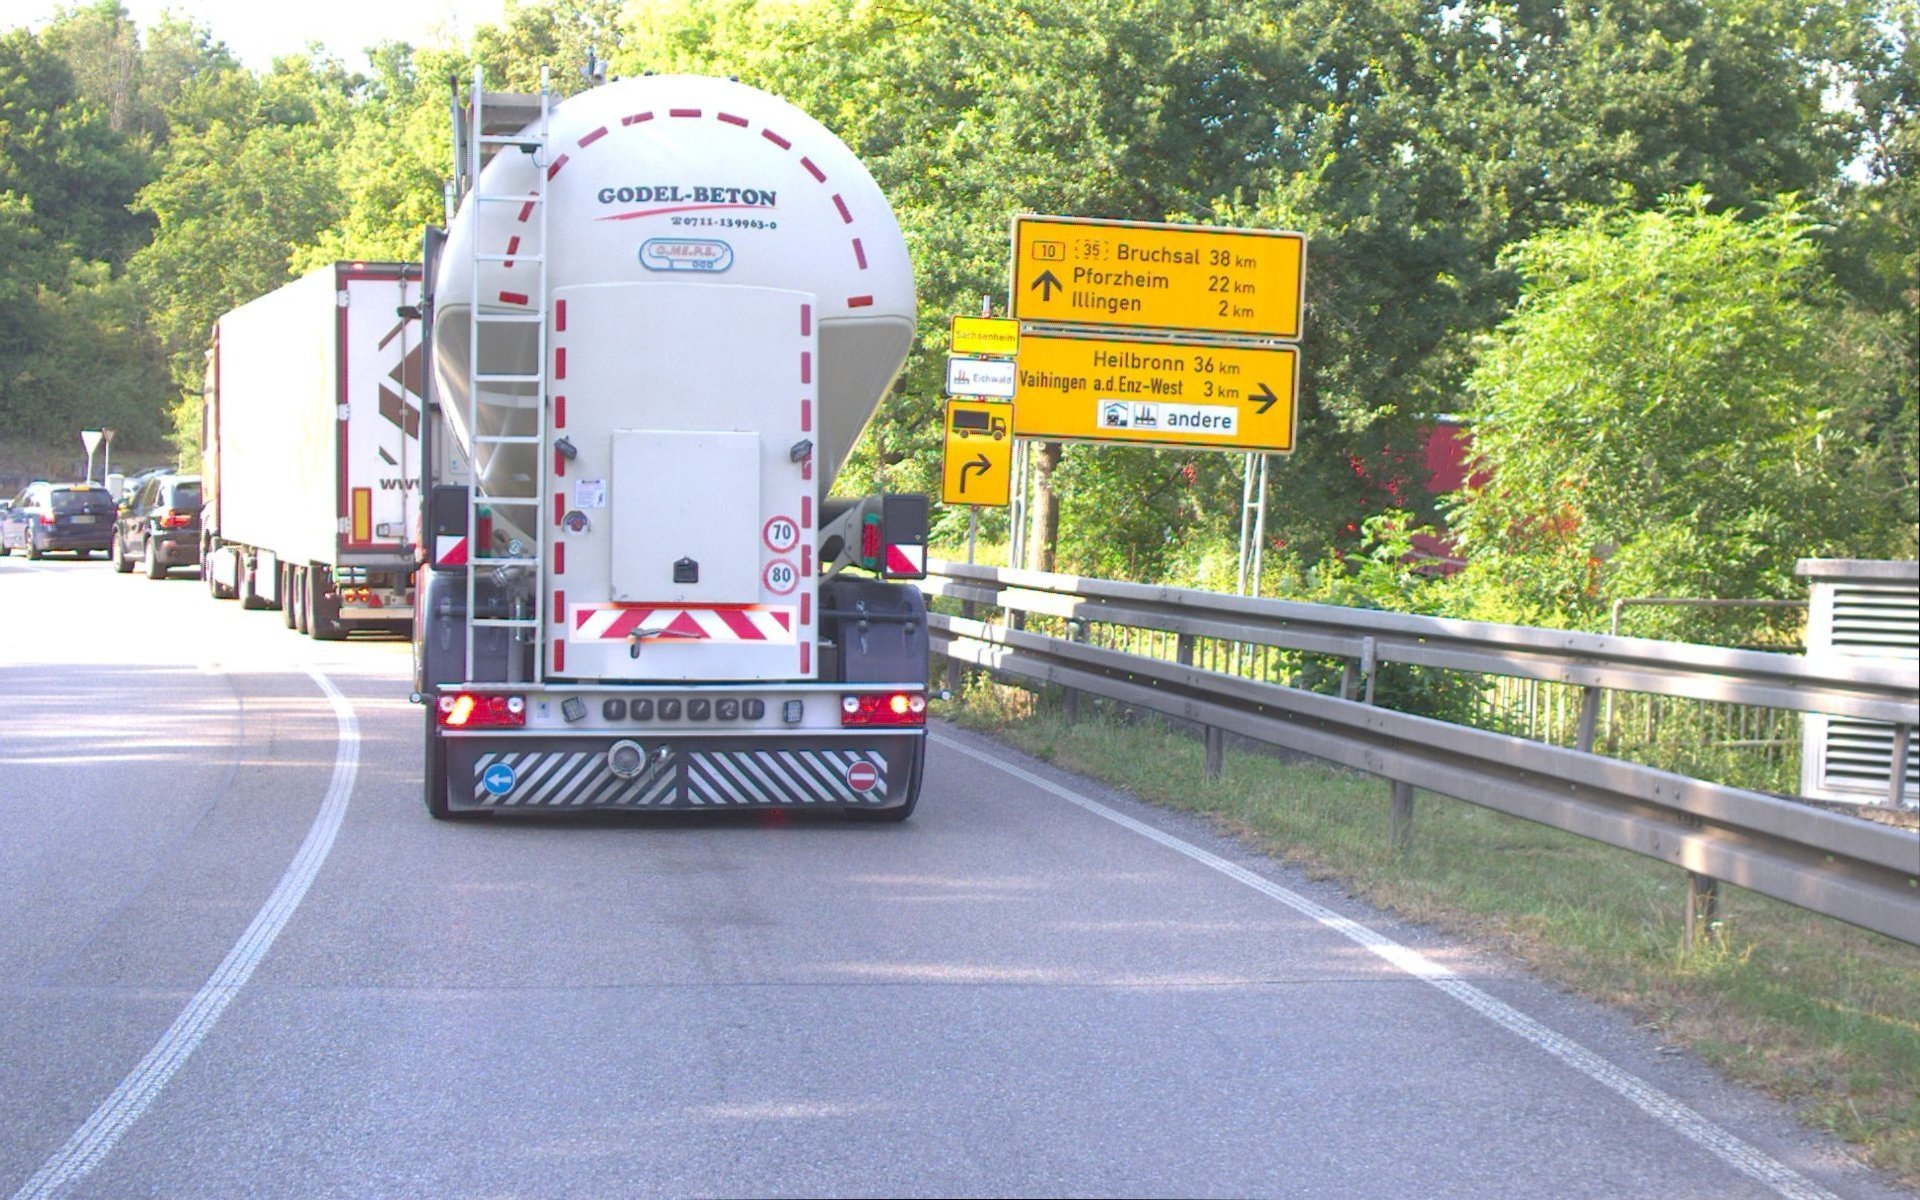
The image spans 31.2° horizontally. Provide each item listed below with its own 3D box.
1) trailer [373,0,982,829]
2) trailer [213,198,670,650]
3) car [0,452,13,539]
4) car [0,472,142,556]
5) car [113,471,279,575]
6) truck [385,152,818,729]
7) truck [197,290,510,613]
[{"bbox_3d":[-2.052,-1.240,21.431,2.886,4.439,9.608,1,1,-8],"label":"trailer"},{"bbox_3d":[-6.640,-1.952,41.482,3.544,4.497,12.989,1,1,-17],"label":"trailer"},{"bbox_3d":[-22.013,-2.289,74.241,1.956,1.845,4.000,-1,3,-31],"label":"car"},{"bbox_3d":[-17.182,-1.685,66.087,1.867,1.559,4.001,-1,2,-28],"label":"car"},{"bbox_3d":[-12.815,-1.311,57.513,1.867,1.622,4.001,2,1,-25],"label":"car"},{"bbox_3d":[-3.004,-1.182,27.181,2.823,4.021,5.896,1,1,-11],"label":"truck"},{"bbox_3d":[-8.572,-1.998,47.907,3.449,4.072,6.493,1,1,-17],"label":"truck"}]
